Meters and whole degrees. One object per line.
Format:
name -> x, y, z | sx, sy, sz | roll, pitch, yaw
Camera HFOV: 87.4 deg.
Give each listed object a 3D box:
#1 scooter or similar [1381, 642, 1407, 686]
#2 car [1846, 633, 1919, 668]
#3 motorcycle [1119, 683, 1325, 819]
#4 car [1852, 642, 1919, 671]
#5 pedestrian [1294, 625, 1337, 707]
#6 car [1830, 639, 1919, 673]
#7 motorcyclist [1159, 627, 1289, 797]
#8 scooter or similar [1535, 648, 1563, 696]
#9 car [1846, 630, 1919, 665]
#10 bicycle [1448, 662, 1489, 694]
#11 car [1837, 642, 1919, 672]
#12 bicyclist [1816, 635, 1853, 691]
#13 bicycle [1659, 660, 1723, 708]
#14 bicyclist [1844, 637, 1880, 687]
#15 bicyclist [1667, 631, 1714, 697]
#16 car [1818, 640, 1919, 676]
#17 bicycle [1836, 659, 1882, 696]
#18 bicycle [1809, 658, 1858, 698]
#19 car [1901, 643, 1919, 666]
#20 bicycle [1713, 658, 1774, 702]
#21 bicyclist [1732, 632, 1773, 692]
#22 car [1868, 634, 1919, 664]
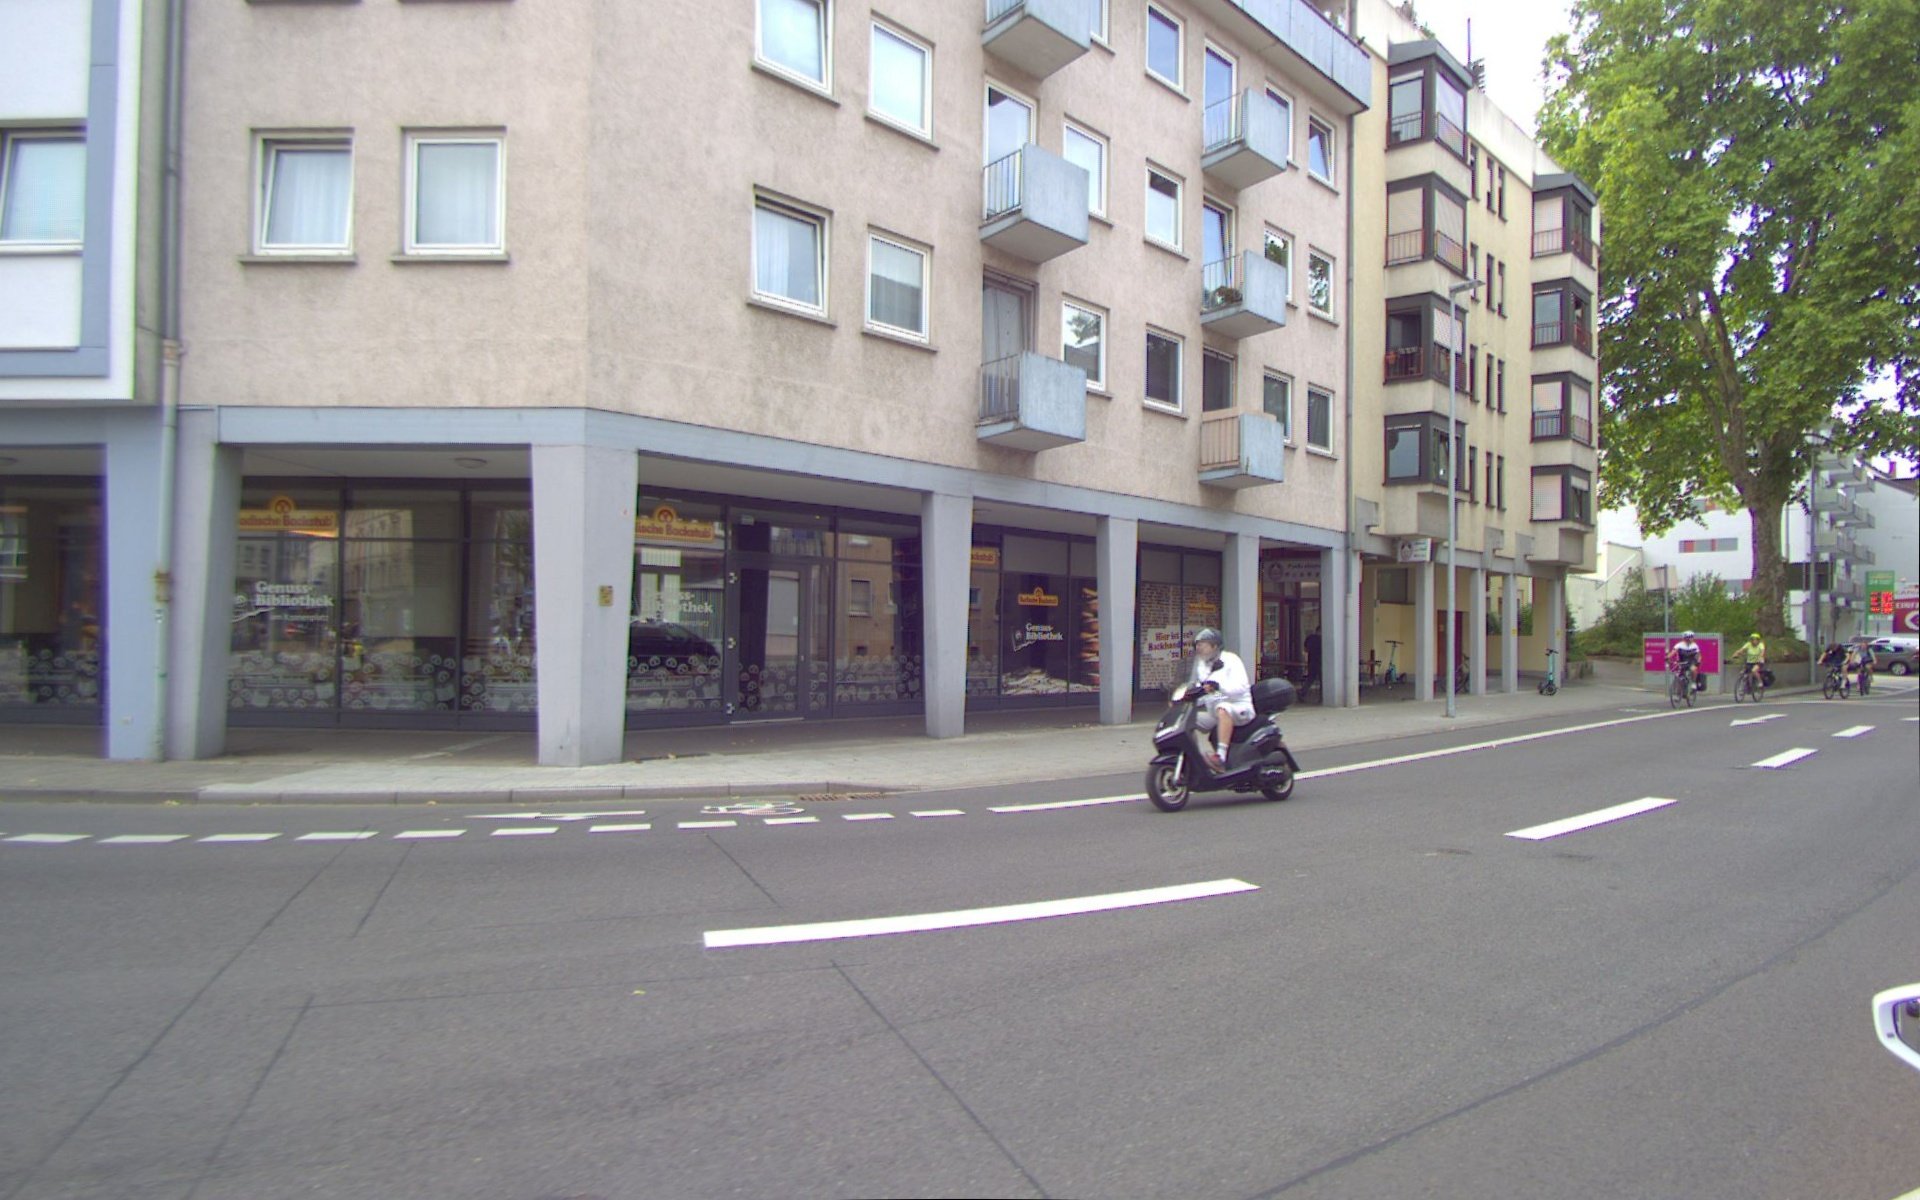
scooter or similar -> 12.663, 1.853, 29.266 | 0.283, 1.217, 1.169 | -1, -1, 44
car -> 56.271, 3.057, 60.223 | 2.030, 1.903, 4.488 | 2, 0, -40
motorcycle -> 2.472, 1.344, 9.366 | 2.016, 1.109, 0.717 | 2, -4, -35
car -> 54.418, 3.287, 58.396 | 1.740, 1.464, 3.649 | 2, 0, -41
pedestrian -> 8.056, 1.482, 22.742 | 0.778, 1.780, 0.576 | 2, 0, -42
car -> 49.706, 3.005, 54.188 | 1.738, 1.590, 3.909 | 2, 0, -39
motorcyclist -> 2.453, 1.012, 9.367 | 0.856, 1.479, 0.791 | 2, -4, -34
scooter or similar -> 16.067, 1.946, 27.405 | 0.281, 1.281, 1.177 | 0, -2, 12
car -> 58.077, 2.976, 62.009 | 1.985, 1.928, 4.872 | 2, 0, -41
bicycle -> 13.856, 2.113, 27.345 | 1.606, 0.832, 0.425 | 3, -2, -42
car -> 51.467, 3.152, 56.027 | 1.740, 1.446, 3.648 | 2, 0, -42
bicyclist -> 25.551, 1.825, 29.348 | 0.848, 1.546, 0.652 | 0, 1, -37
bicycle -> 17.717, 2.013, 24.334 | 1.892, 1.020, 0.732 | 1, 1, -38
bicyclist -> 28.730, 1.961, 32.003 | 1.066, 1.546, 0.652 | 0, 1, -37
bicyclist -> 17.681, 1.529, 24.303 | 0.993, 1.546, 0.652 | 0, 1, -37
car -> 47.918, 3.011, 52.682 | 1.952, 1.627, 4.220 | 0, 0, -40
bicycle -> 28.521, 2.440, 31.844 | 2.176, 1.020, 0.732 | 1, 1, -39
bicycle -> 25.404, 2.256, 29.218 | 1.959, 1.020, 0.732 | 0, 1, -39
car -> 65.365, 3.694, 67.281 | 1.585, 1.516, 3.311 | 3, -1, -43
bicycle -> 20.717, 2.096, 26.533 | 2.231, 1.020, 0.732 | 1, 1, -38
bicyclist -> 20.997, 1.626, 26.625 | 0.833, 1.546, 0.652 | 0, 1, -37
car -> 63.117, 3.286, 66.478 | 1.811, 1.894, 4.267 | 3, 0, -42
